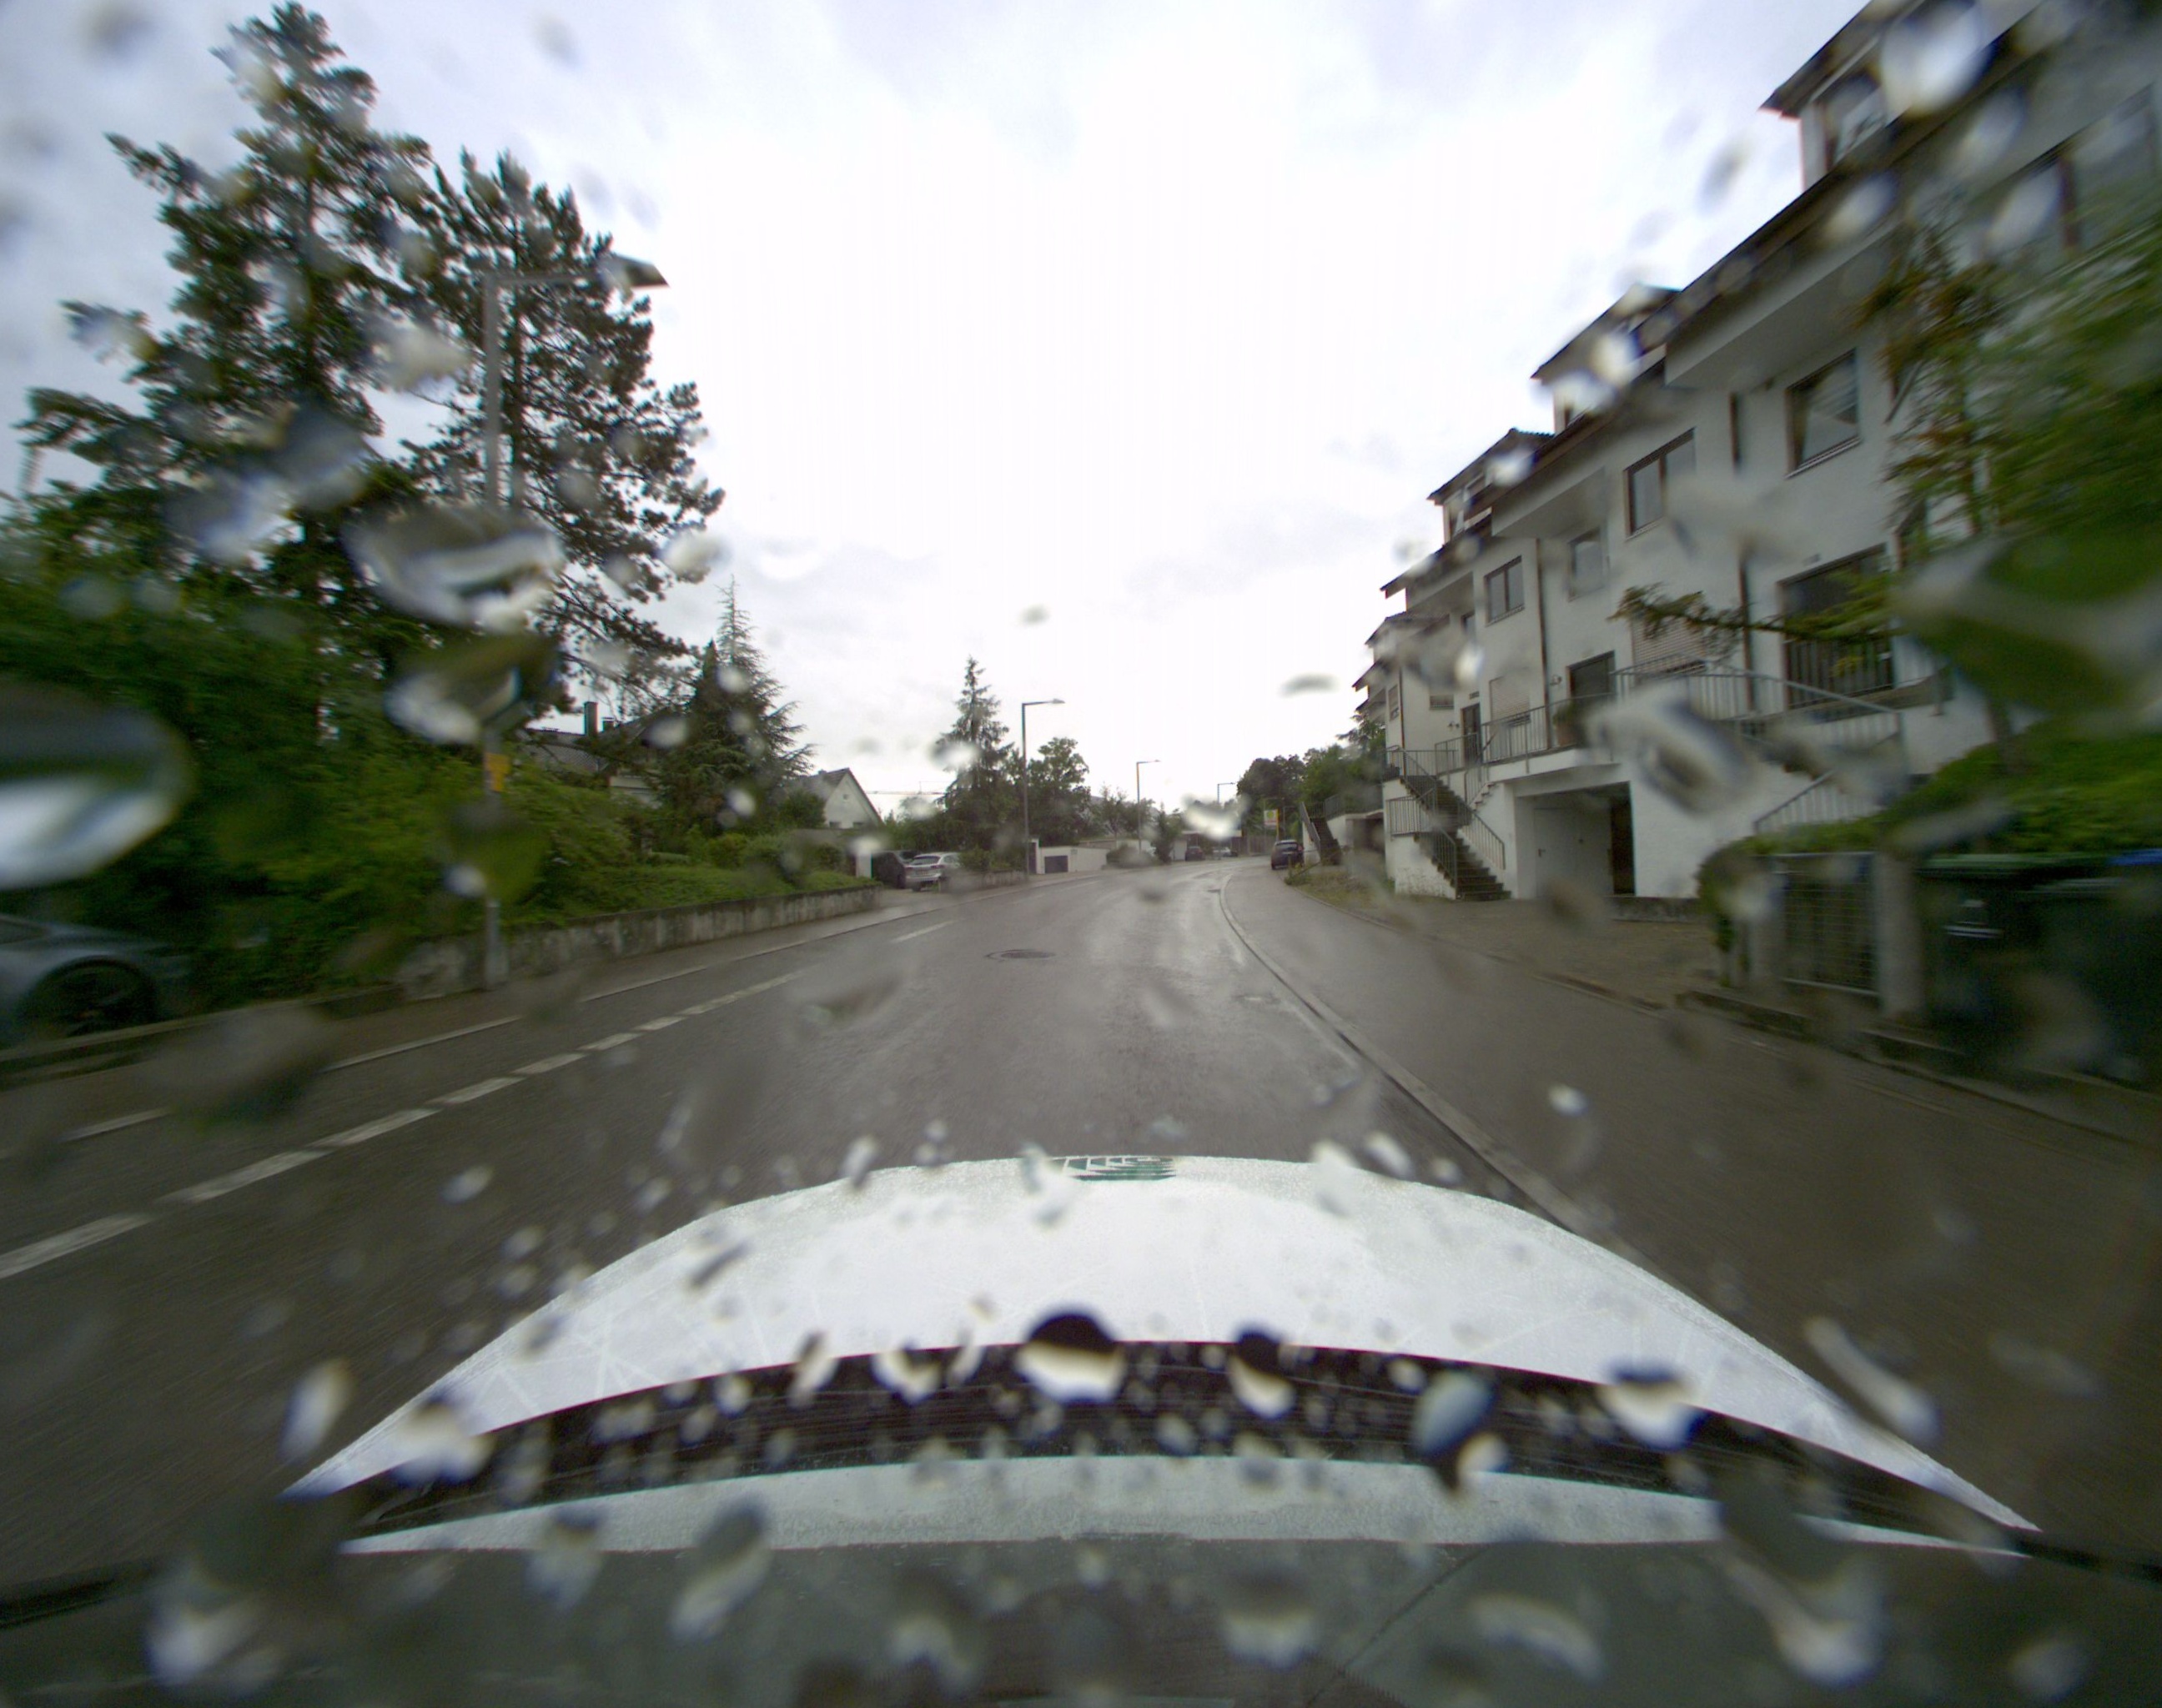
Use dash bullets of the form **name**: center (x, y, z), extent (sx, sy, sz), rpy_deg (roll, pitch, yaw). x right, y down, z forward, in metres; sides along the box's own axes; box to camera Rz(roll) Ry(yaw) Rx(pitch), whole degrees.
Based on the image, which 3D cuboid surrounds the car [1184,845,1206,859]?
- **car**: center (11.941, -0.222, 85.054), extent (1.821, 1.405, 4.276), rpy_deg (-2, 0, 14)

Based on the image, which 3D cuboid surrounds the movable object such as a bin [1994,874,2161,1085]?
- **movable object such as a bin**: center (4.888, 0.573, 3.895), extent (0.490, 0.923, 0.458), rpy_deg (-2, 0, 4)

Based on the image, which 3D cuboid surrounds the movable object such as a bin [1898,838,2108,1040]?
- **movable object such as a bin**: center (5.135, 0.448, 4.572), extent (0.490, 1.046, 0.577), rpy_deg (-2, 0, 4)

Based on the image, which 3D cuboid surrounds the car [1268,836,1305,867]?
- **car**: center (10.945, -0.140, 43.472), extent (1.693, 1.454, 4.036), rpy_deg (-5, -1, 14)

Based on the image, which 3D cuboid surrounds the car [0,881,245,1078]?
- **car**: center (-8.457, 0.923, 4.955), extent (1.985, 1.307, 4.437), rpy_deg (-2, 0, 3)

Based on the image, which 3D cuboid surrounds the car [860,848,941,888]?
- **car**: center (-8.994, 0.692, 40.514), extent (3.949, 1.838, 2.012), rpy_deg (-2, 0, 44)

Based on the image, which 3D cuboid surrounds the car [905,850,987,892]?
- **car**: center (-5.452, 0.644, 33.505), extent (1.721, 1.551, 4.017), rpy_deg (-2, 0, 16)

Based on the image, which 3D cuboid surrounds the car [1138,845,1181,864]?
- **car**: center (7.022, 0.040, 72.163), extent (1.688, 1.553, 4.417), rpy_deg (-2, 0, 37)

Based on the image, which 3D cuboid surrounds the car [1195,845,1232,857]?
- **car**: center (17.321, -0.388, 106.607), extent (4.529, 1.442, 1.751), rpy_deg (-1, 0, -17)
